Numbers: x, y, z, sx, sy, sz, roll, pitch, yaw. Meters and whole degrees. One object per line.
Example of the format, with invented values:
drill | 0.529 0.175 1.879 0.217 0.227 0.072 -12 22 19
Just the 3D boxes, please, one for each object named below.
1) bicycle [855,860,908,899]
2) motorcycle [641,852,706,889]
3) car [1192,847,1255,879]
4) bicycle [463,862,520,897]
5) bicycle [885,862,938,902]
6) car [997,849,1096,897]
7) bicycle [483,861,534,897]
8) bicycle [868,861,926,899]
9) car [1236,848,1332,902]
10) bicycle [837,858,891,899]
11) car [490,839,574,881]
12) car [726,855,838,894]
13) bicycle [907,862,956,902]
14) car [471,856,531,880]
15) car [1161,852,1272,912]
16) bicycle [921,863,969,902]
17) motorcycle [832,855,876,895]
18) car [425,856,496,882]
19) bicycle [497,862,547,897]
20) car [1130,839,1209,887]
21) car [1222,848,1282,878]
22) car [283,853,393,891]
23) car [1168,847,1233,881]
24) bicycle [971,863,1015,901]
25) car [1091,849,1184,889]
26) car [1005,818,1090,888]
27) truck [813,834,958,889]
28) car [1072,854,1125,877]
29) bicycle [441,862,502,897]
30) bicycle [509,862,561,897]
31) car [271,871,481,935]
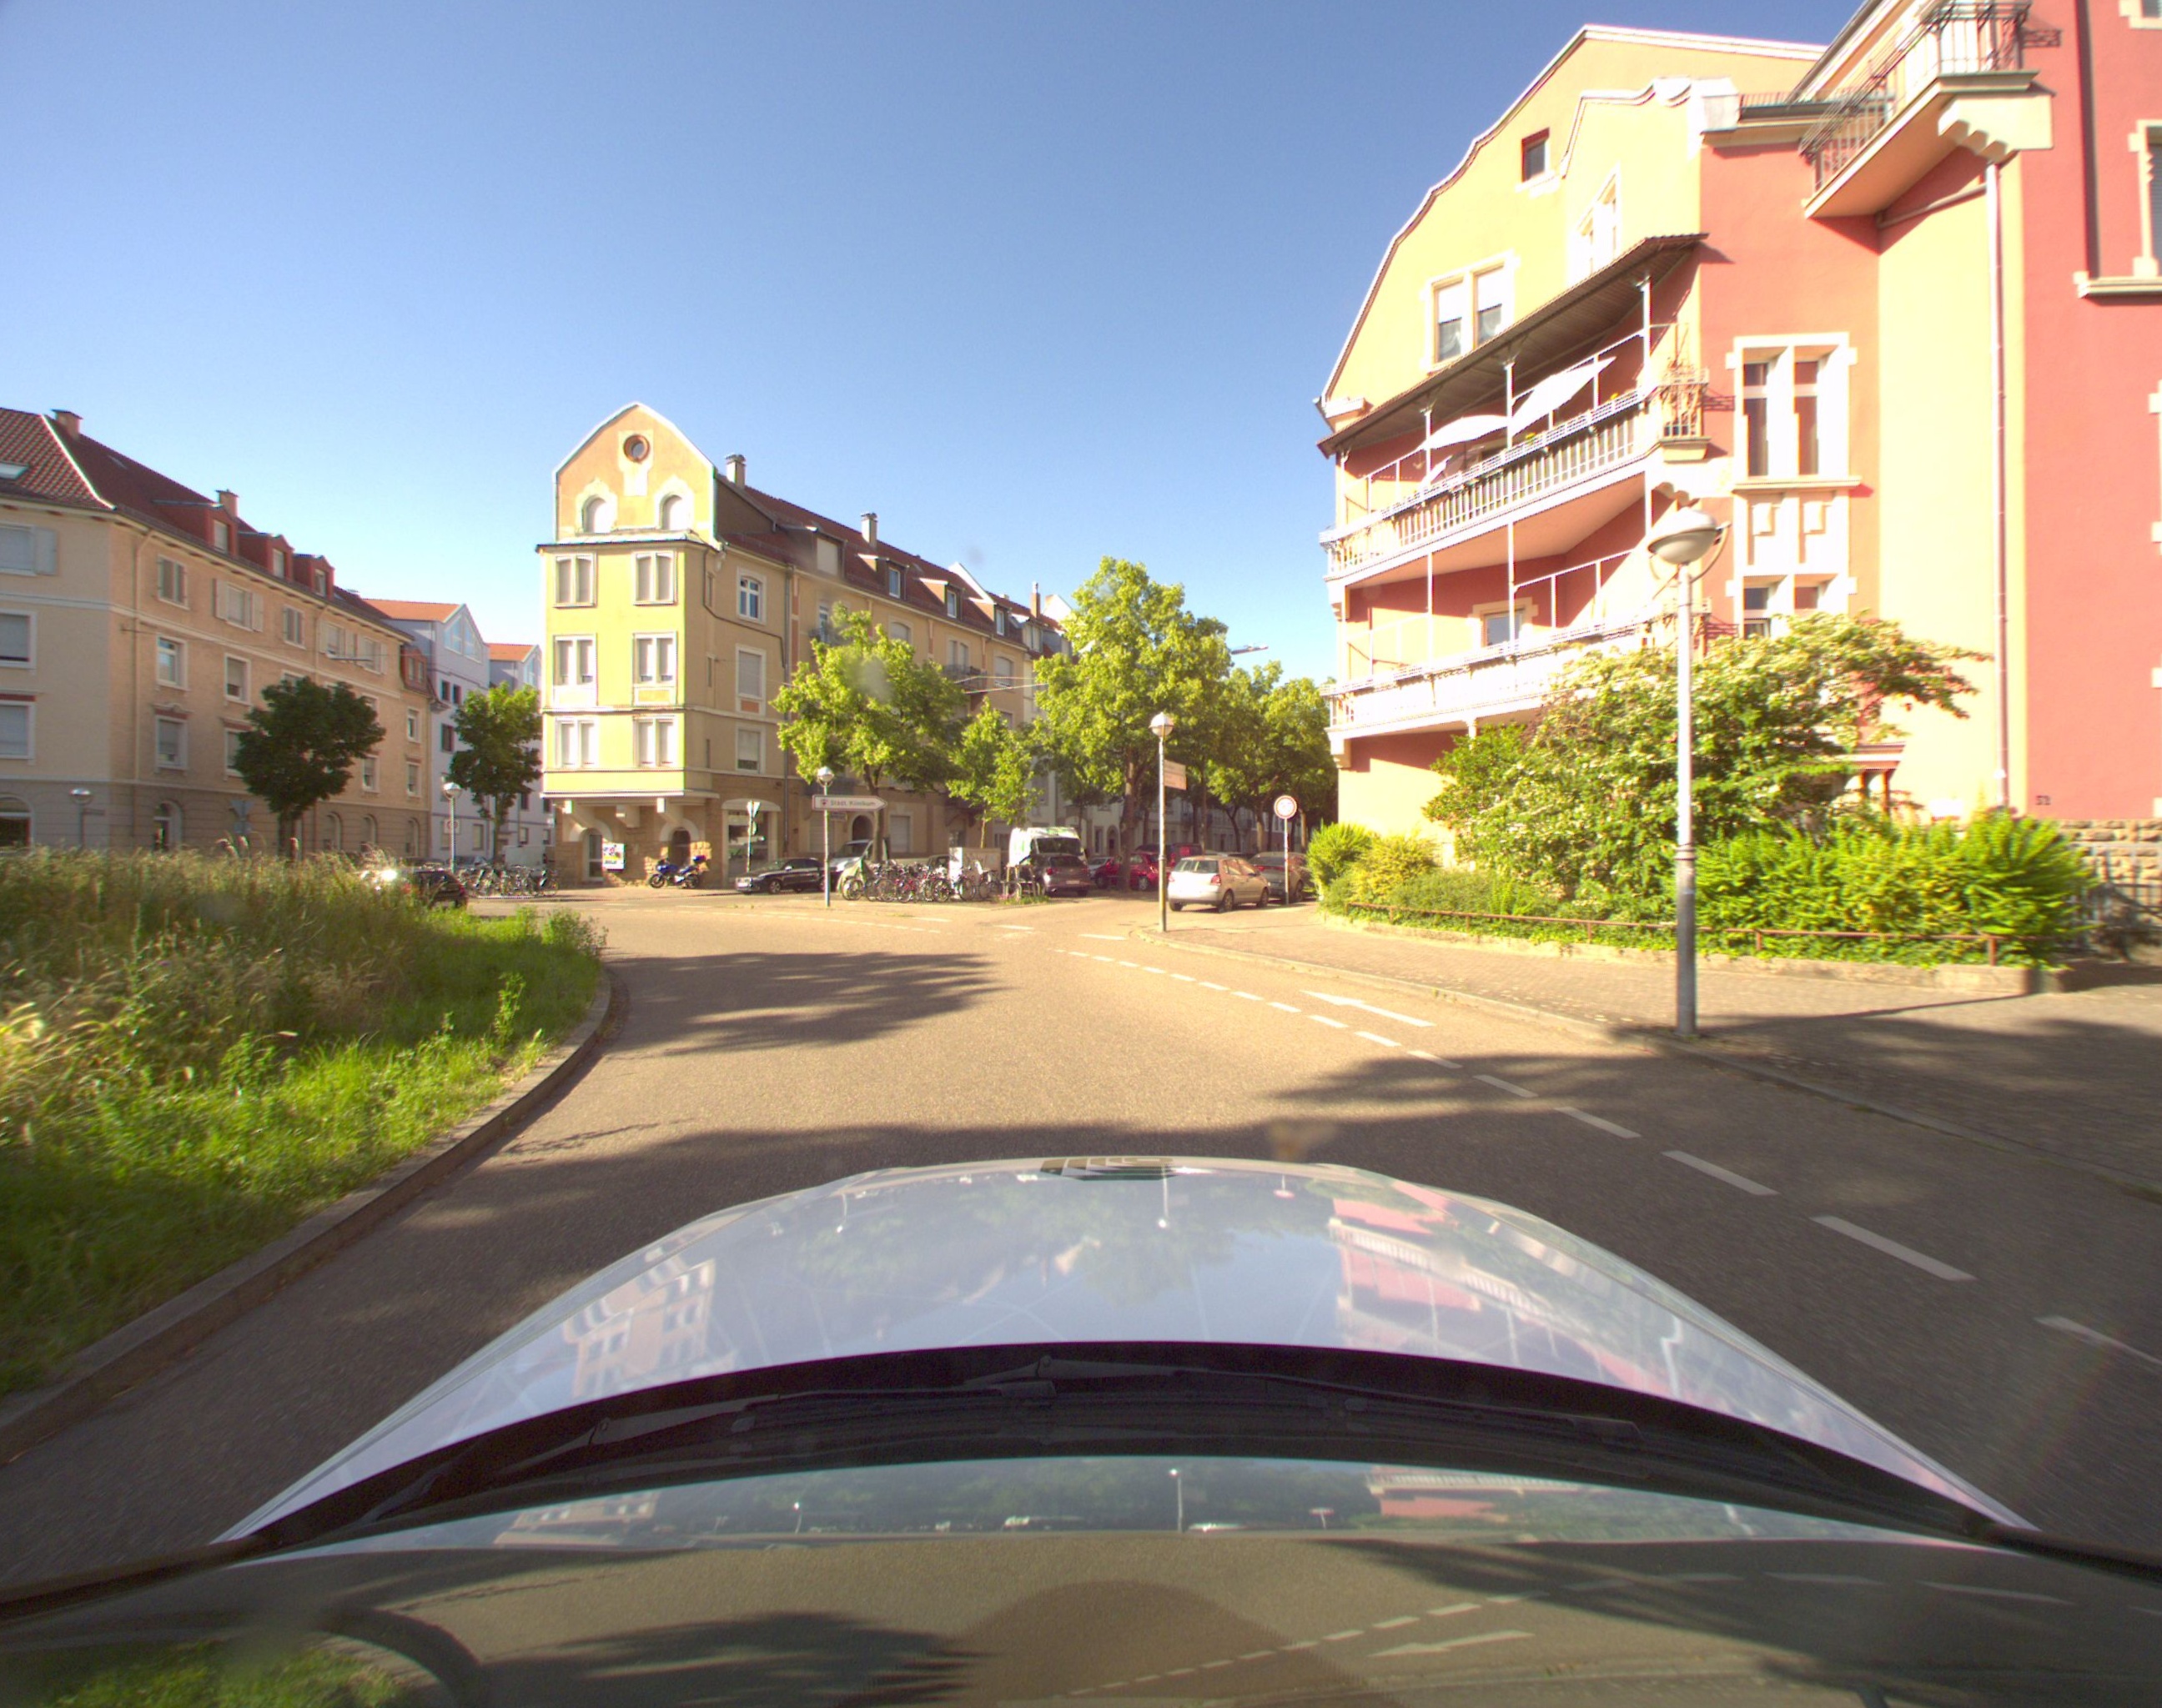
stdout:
bicycle | -6.149 0.762 25.209 0.582 1.126 1.612 1 1 34
motorcycle | -16.504 0.657 33.016 2.234 1.411 0.701 1 1 2
car | 7.045 0.420 40.510 1.687 1.470 3.363 1 1 -19
bicycle | -20.100 0.859 27.815 0.612 1.145 1.698 -1 0 3
bicycle | -5.067 0.821 24.395 0.494 1.102 1.660 1 1 36
car | -1.251 0.592 27.932 1.694 1.446 3.883 0 1 -32
bicycle | -19.549 0.830 27.831 0.448 1.191 1.698 -1 0 3
bicycle | -5.580 0.771 24.794 0.649 1.088 1.741 1 1 34
car | 6.615 0.619 26.208 1.666 1.562 4.322 1 1 33
bicycle | -6.813 0.750 25.614 0.531 1.192 1.690 1 1 34
car | -26.501 0.291 39.489 2.140 1.909 4.535 0 0 -17
car | -11.633 0.769 31.897 1.666 1.390 3.946 -1 0 29
bicycle | -4.440 0.815 24.312 0.414 1.089 1.584 1 1 36
car | -37.251 0.853 52.431 1.697 1.486 3.755 0 0 -11
car | 3.736 0.684 22.025 1.666 1.446 3.569 1 1 33
bicycle | -4.020 0.819 24.135 0.414 1.086 1.536 1 1 36
motorcycle | -7.632 0.695 27.386 1.689 1.270 0.542 1 1 38
car | -36.382 0.848 47.872 1.697 1.486 3.988 0 0 -11
bicycle | -19.120 0.857 27.885 0.480 1.123 1.698 -1 0 3
car | 3.619 0.343 33.746 1.692 1.865 3.354 1 1 -28
car | 9.132 0.458 43.812 1.687 1.470 3.363 1 1 -19
car | -34.122 0.773 37.552 1.906 1.642 4.326 0 0 -14
car | 5.577 0.438 38.260 1.687 1.470 3.363 1 1 -19
bicycle | -2.666 0.841 24.775 0.414 1.086 1.536 1 1 36
car | 2.168 0.549 31.811 1.697 1.446 3.343 0 1 -43
car | -1.524 -0.085 33.953 2.101 2.600 6.342 1 1 -16
truck | -8.668 0.304 36.886 2.112 2.292 6.663 -2 -1 34
car | 1.137 0.691 51.981 1.666 1.390 3.946 -1 0 29
bicycle | -20.908 0.848 27.973 0.632 1.145 1.702 -1 0 11
bicycle | -18.648 0.852 27.862 0.479 1.123 1.721 -1 0 6
car | -17.663 1.208 20.495 3.962 1.419 1.876 -1 1 10
